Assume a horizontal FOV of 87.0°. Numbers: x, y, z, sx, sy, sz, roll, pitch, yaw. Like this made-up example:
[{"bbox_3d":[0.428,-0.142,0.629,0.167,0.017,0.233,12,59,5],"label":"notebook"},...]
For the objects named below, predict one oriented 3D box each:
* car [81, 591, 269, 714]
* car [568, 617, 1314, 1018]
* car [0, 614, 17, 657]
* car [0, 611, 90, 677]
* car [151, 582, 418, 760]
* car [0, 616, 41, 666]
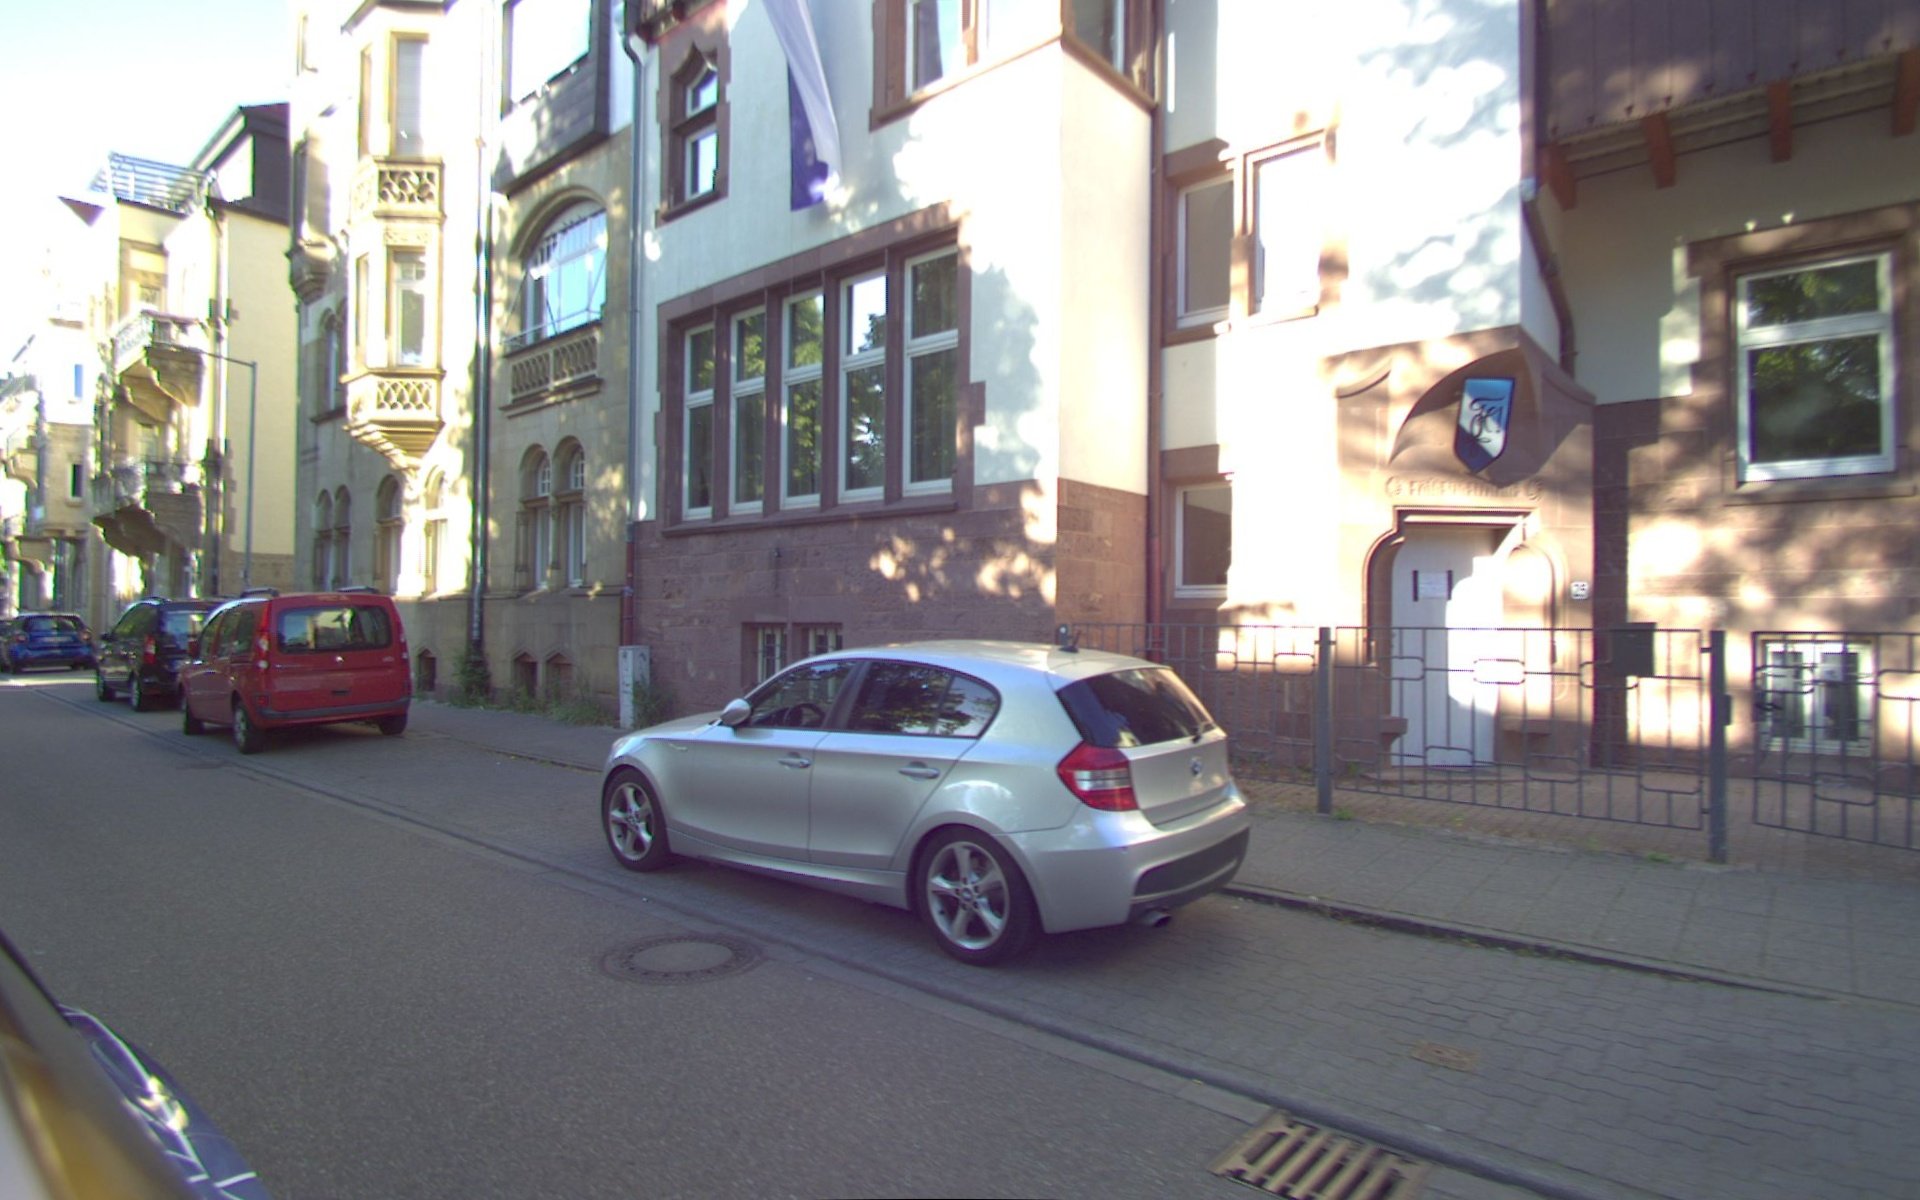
[{"bbox_3d":[-13.656,0.829,17.506,4.539,1.866,1.751,-1,-1,41],"label":"car"},{"bbox_3d":[-0.337,0.841,5.737,4.098,1.477,1.727,-1,-1,39],"label":"car"},{"bbox_3d":[-34.996,1.279,35.897,3.769,1.477,1.673,-1,3,39],"label":"car"},{"bbox_3d":[-23.817,1.091,26.095,2.859,1.520,1.667,-1,2,41],"label":"car"},{"bbox_3d":[-8.789,0.776,13.023,4.322,1.921,1.780,-1,0,41],"label":"car"},{"bbox_3d":[-30.664,1.281,31.935,4.539,1.449,1.881,-1,2,41],"label":"car"}]
